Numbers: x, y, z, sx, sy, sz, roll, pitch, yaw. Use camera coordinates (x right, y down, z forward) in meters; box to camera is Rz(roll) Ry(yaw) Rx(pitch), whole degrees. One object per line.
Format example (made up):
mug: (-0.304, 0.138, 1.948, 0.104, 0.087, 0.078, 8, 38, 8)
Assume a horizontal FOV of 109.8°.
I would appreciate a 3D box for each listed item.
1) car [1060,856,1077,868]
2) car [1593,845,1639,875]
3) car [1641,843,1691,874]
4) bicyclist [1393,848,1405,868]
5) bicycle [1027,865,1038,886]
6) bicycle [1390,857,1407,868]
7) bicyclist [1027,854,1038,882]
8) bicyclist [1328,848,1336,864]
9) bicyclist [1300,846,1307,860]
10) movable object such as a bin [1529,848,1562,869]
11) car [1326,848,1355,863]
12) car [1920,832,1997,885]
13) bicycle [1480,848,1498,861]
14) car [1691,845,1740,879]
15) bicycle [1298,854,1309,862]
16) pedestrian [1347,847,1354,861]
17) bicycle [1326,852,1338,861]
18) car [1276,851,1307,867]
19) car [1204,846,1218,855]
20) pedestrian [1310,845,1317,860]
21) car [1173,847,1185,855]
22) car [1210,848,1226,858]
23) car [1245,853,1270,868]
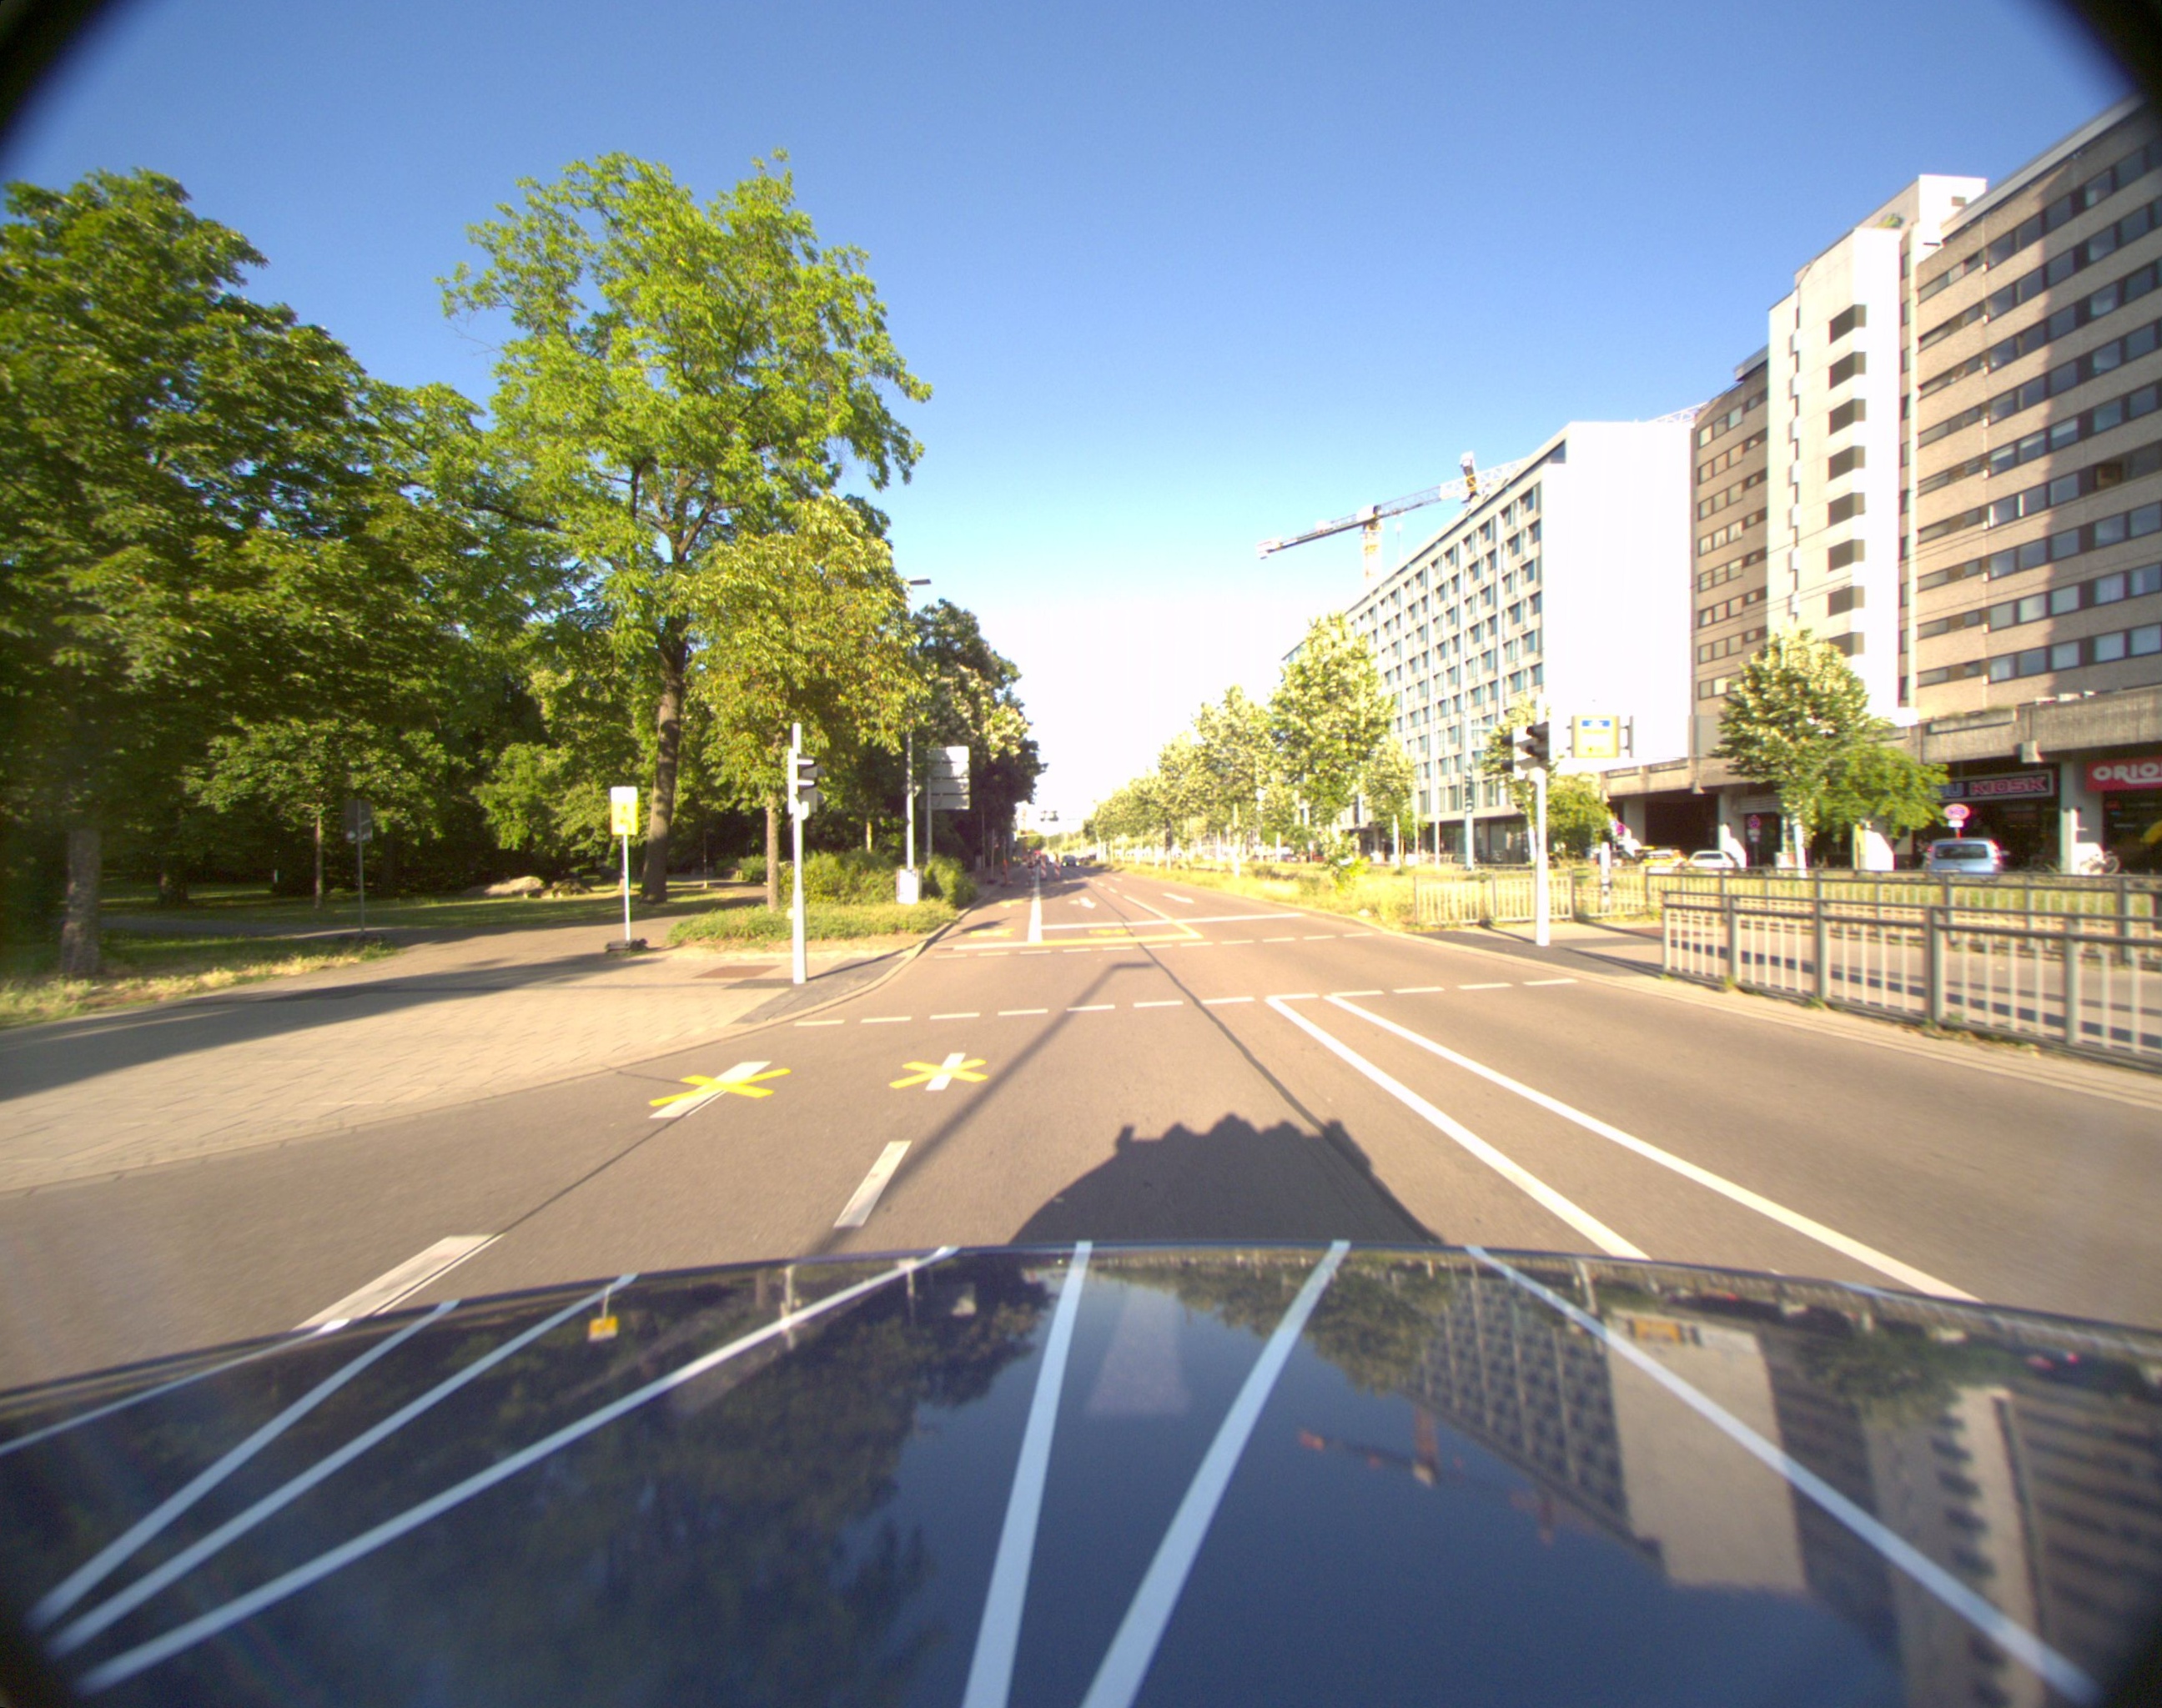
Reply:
car: (-1.540, 0.977, 91.611, 1.999, 1.346, 3.999, -1, 0, -2)
car: (31.163, 0.320, 44.204, 1.617, 1.436, 4.555, -2, 1, 42)
car: (31.316, 0.242, 40.637, 1.785, 1.436, 3.808, -2, 1, 42)
bicyclist: (27.183, 0.347, 64.965, 0.559, 1.735, 0.919, -1, 1, -5)
bicycle: (-2.386, 1.058, 37.615, 0.506, 1.018, 1.505, -1, 1, -3)
bicycle: (27.163, 0.707, 65.059, 0.437, 0.858, 2.102, -1, 0, -5)
bicyclist: (-2.396, 0.682, 37.640, 0.516, 1.399, 0.805, -1, 1, -4)
bicyclist: (26.650, 0.186, 80.628, 0.539, 1.647, 0.919, -1, 1, -5)
bicyclist: (25.335, -0.113, 86.517, 0.539, 1.647, 0.919, -1, 1, -5)
movable object such as a bin: (30.131, 0.296, 49.320, 1.390, 1.363, 1.171, -1, 1, -4)
car: (28.323, 0.141, 83.095, 1.875, 1.458, 3.388, -3, 1, -3)
car: (32.099, 0.140, 27.886, 4.204, 1.681, 1.617, -4, 2, -44)
bicycle: (36.706, 0.041, 68.431, 0.394, 1.223, 1.718, -1, 1, -12)
car: (31.641, 0.385, 37.854, 1.617, 1.436, 3.800, -2, 1, 44)
bicycle: (25.359, 0.454, 86.645, 0.437, 0.858, 2.102, -1, 0, -5)
pedestrian: (31.212, -0.020, 87.998, 0.479, 1.626, 0.597, -1, 1, -3)
bicycle: (26.651, 0.250, 80.670, 0.437, 0.858, 2.102, -1, 0, -5)
car: (23.160, 0.480, 83.659, 1.875, 1.579, 4.637, -3, 1, -3)
car: (25.041, -0.711, 146.067, 1.875, 1.582, 3.481, -3, 1, -3)
pedestrian: (29.997, -0.178, 98.162, 0.622, 2.002, 0.725, -1, 1, -3)
car: (21.389, -0.703, 166.502, 1.875, 1.742, 3.791, -3, 1, -3)
car: (22.227, -0.168, 123.131, 1.613, 1.370, 3.878, -3, 1, -3)
car: (22.743, 0.812, 97.905, 1.875, 1.692, 4.486, -3, 1, -3)
